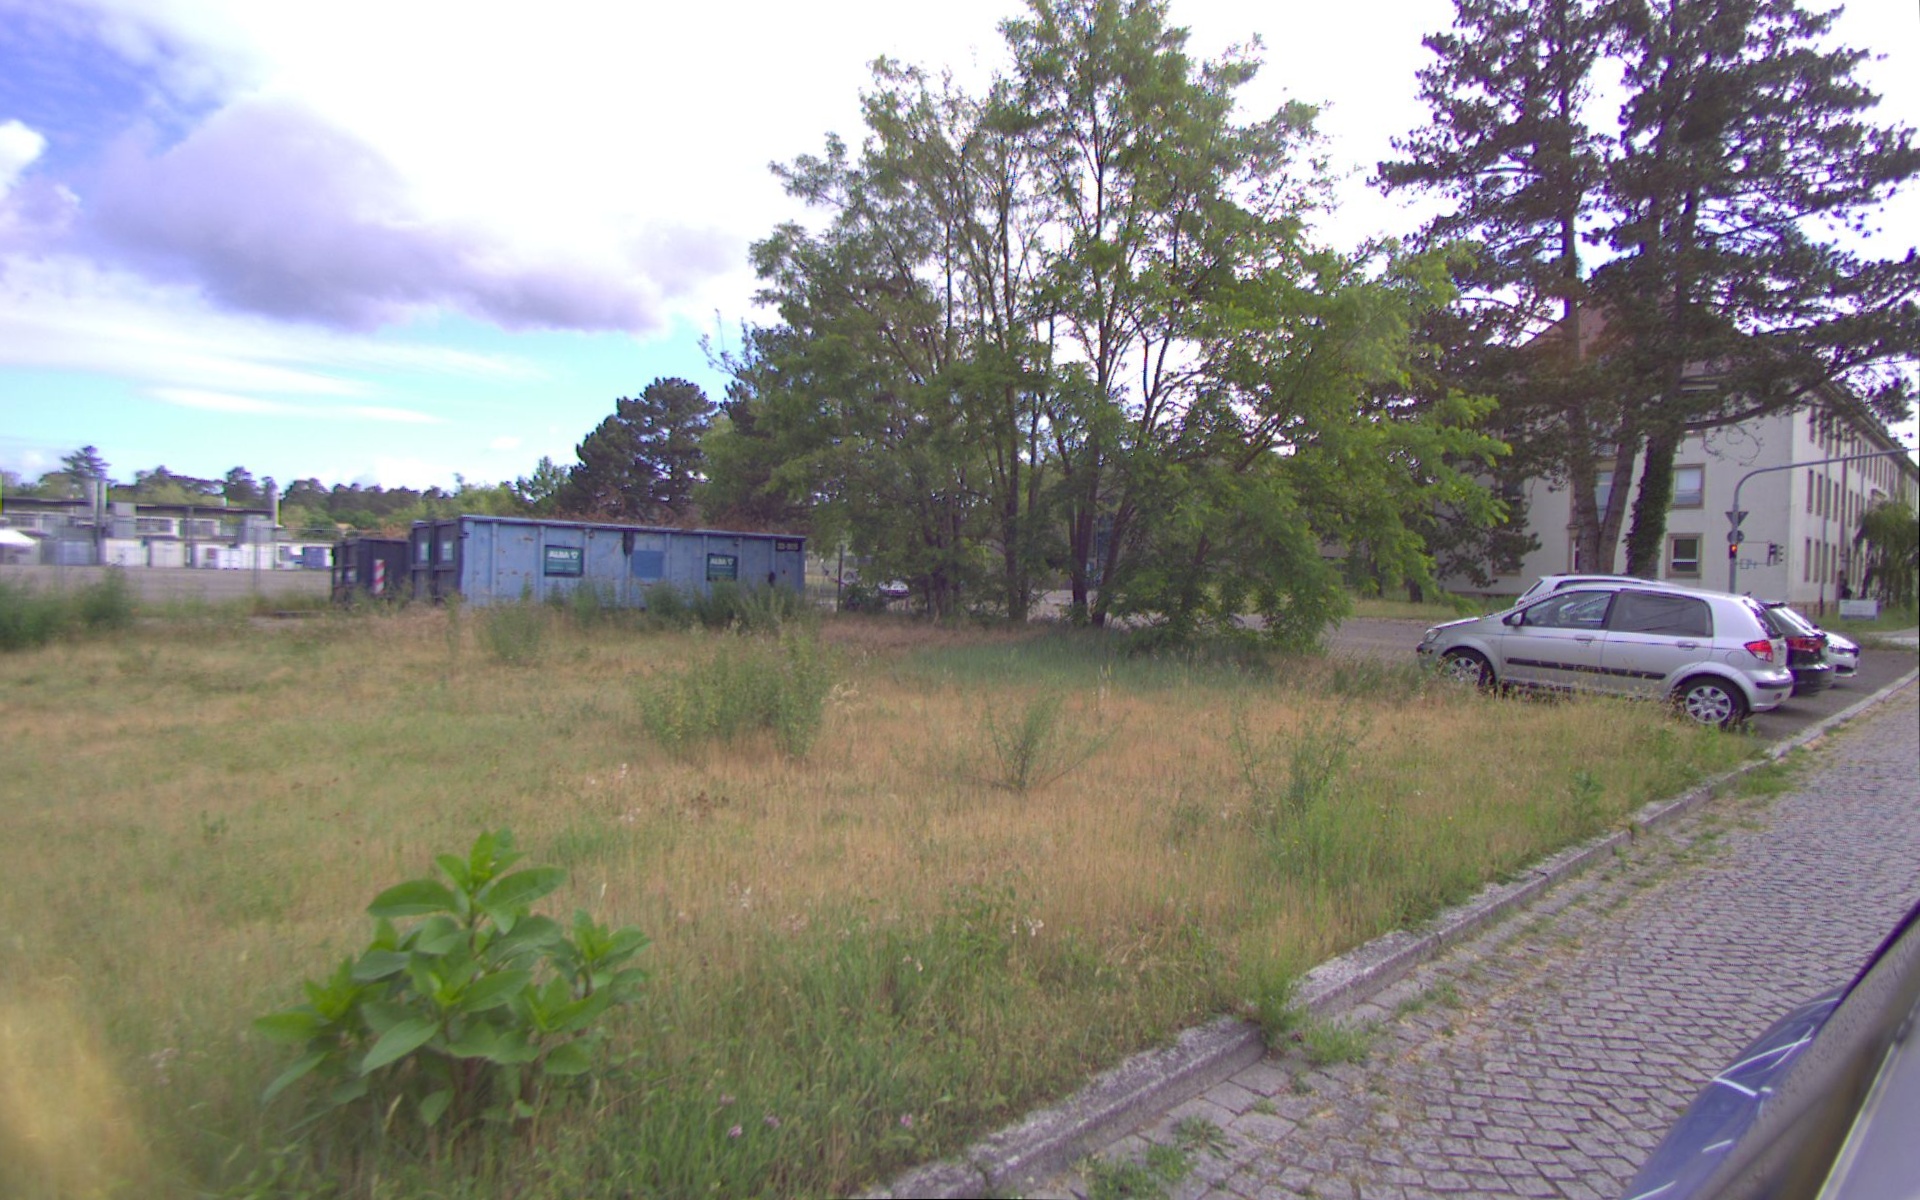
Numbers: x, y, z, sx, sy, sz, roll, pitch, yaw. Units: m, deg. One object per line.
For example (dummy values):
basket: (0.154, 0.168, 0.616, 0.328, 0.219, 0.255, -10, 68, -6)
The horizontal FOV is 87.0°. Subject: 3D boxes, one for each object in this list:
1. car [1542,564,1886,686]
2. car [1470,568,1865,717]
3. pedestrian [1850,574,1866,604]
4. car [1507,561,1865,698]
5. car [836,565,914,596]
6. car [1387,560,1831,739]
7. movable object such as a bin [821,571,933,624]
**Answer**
car: (12.998, 0.321, 17.684, 1.874, 1.584, 4.500, 0, 5, -44)
car: (9.494, 0.446, 13.824, 1.854, 1.470, 4.080, 0, 5, -44)
pedestrian: (51.947, -0.617, 58.521, 0.522, 1.722, 0.568, 0, 1, -38)
car: (11.244, 0.343, 15.888, 1.855, 1.615, 4.244, 0, 5, -45)
car: (-4.406, -1.022, 52.355, 1.940, 1.501, 3.990, 0, 2, -44)
car: (7.522, 0.426, 12.034, 1.774, 1.533, 4.080, 0, 5, -44)
movable object such as a bin: (-1.776, -0.078, 21.199, 0.839, 1.000, 2.684, 0, 2, -44)
